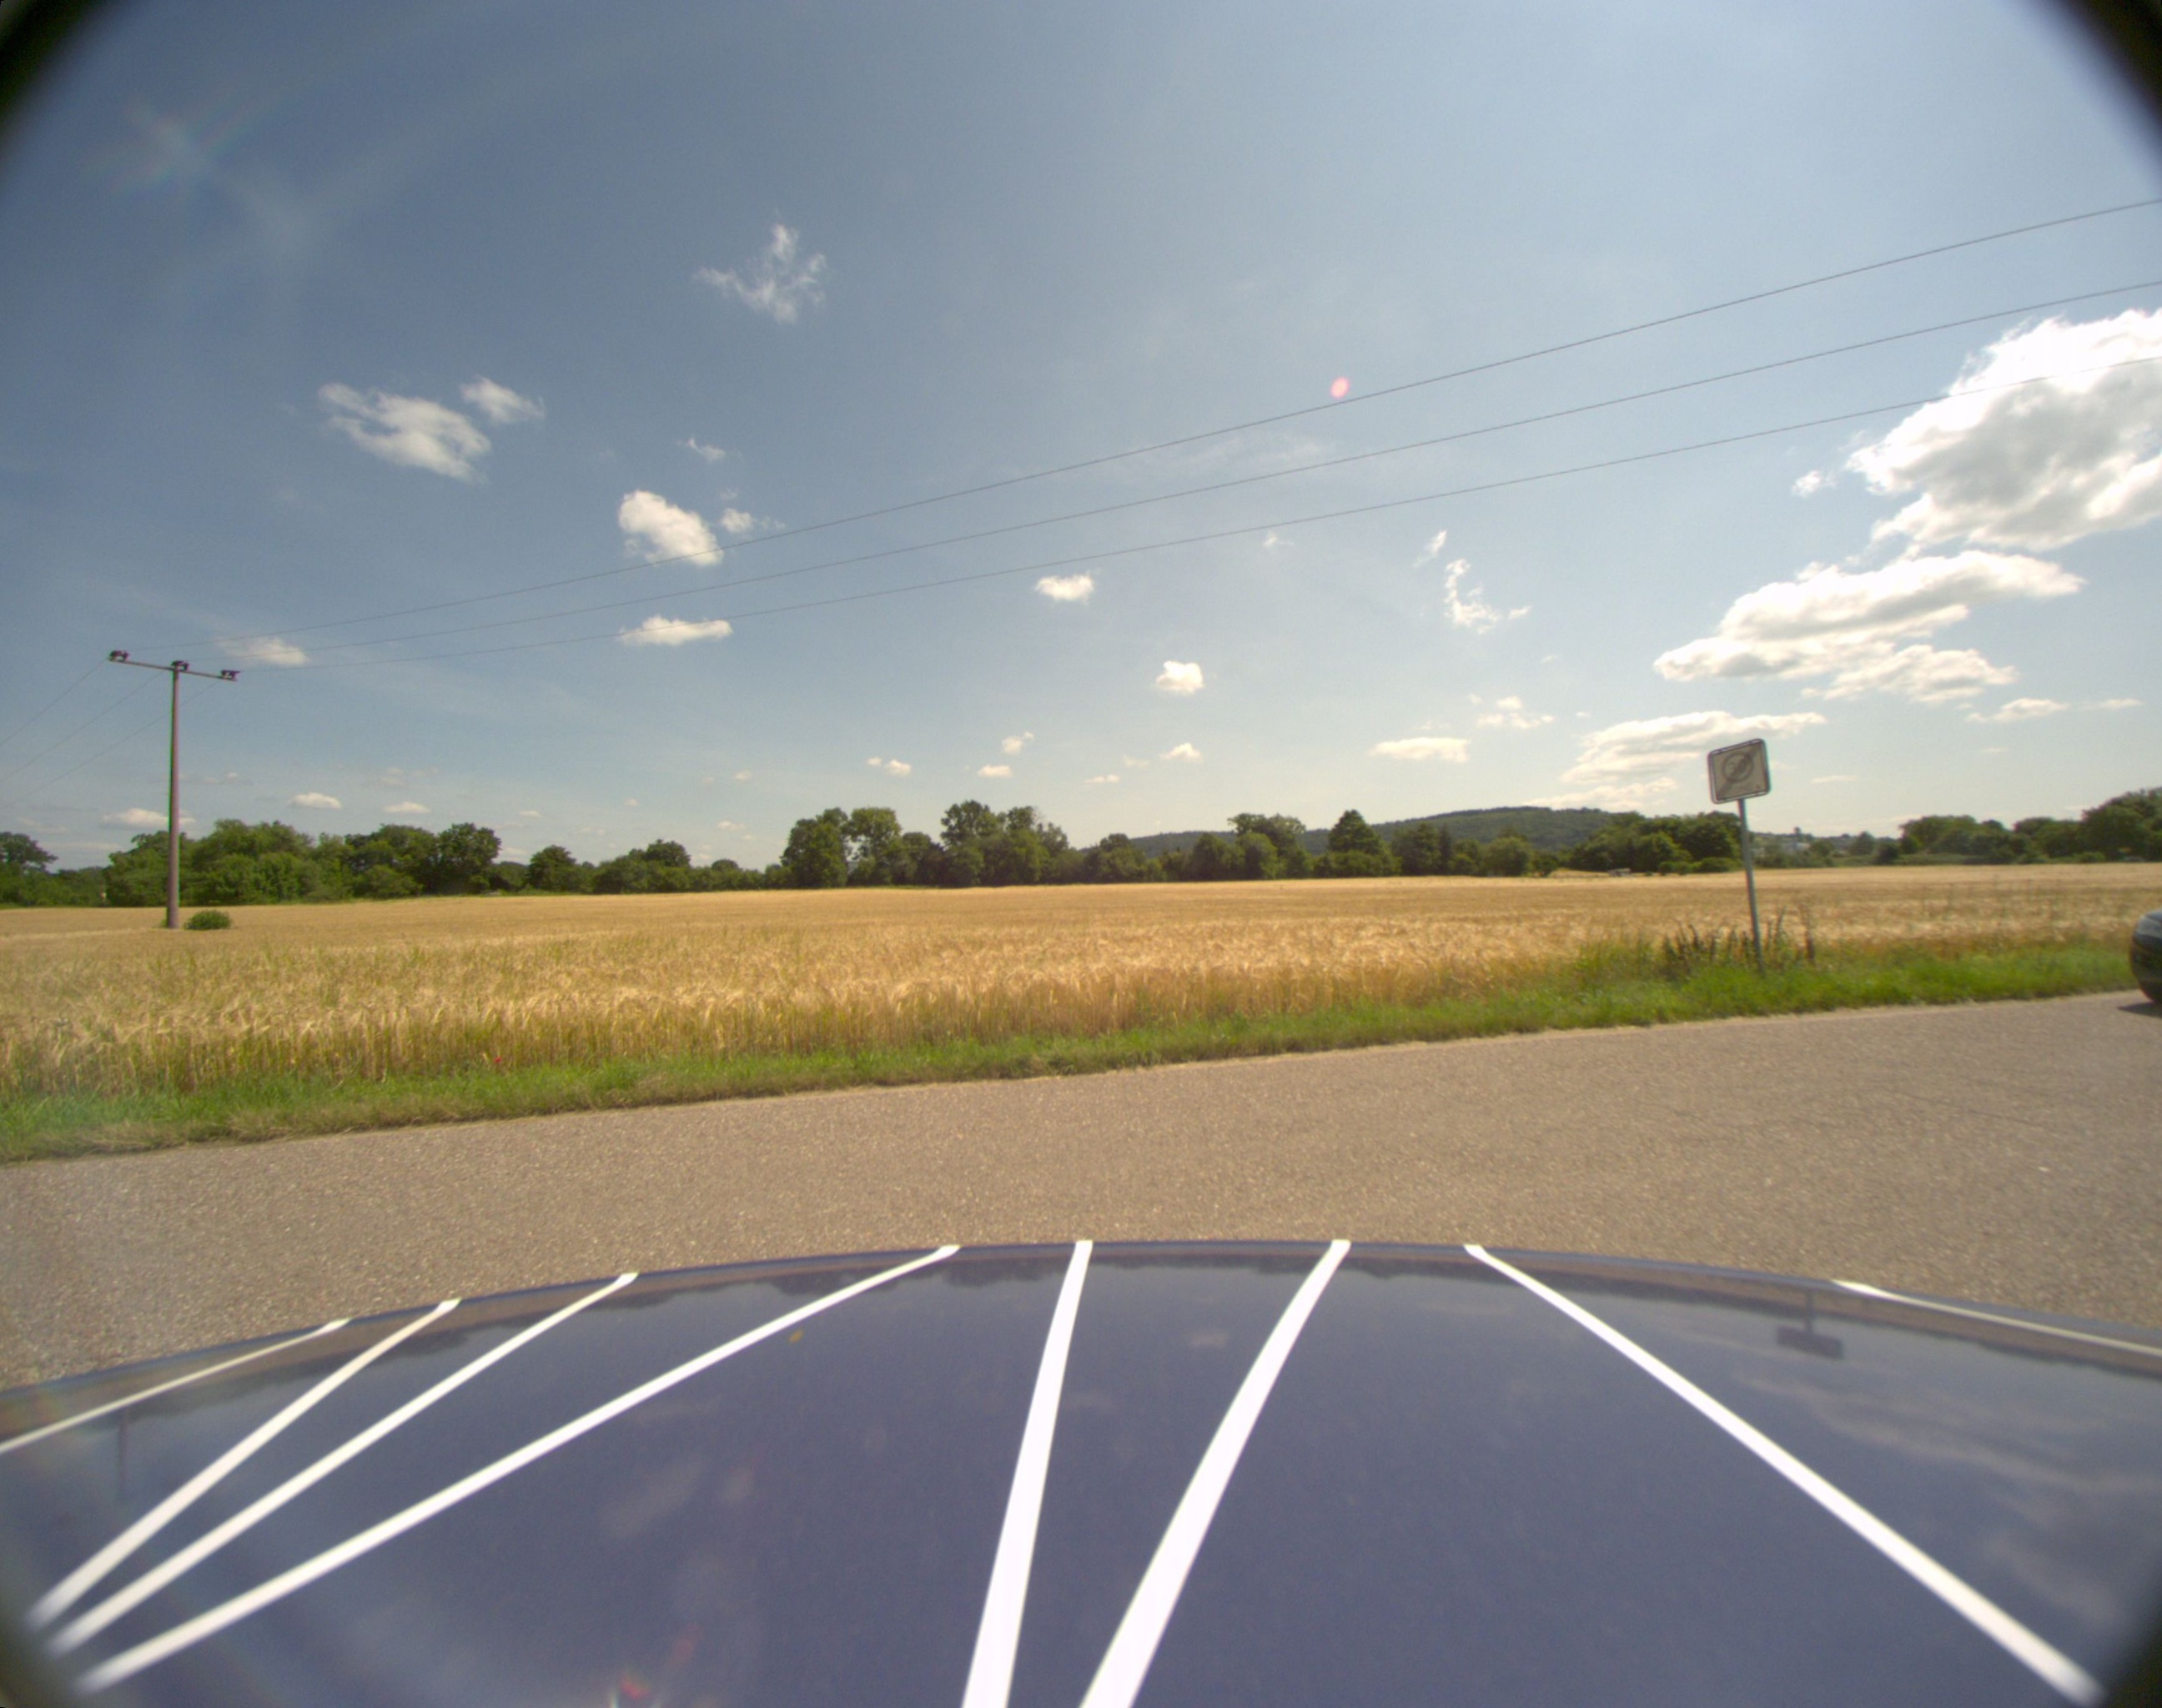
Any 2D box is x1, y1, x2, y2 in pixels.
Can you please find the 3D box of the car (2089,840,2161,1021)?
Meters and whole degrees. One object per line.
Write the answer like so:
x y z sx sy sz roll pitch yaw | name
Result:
12.135 0.665 7.072 4.257 1.669 1.748 -1 0 -14 | car
